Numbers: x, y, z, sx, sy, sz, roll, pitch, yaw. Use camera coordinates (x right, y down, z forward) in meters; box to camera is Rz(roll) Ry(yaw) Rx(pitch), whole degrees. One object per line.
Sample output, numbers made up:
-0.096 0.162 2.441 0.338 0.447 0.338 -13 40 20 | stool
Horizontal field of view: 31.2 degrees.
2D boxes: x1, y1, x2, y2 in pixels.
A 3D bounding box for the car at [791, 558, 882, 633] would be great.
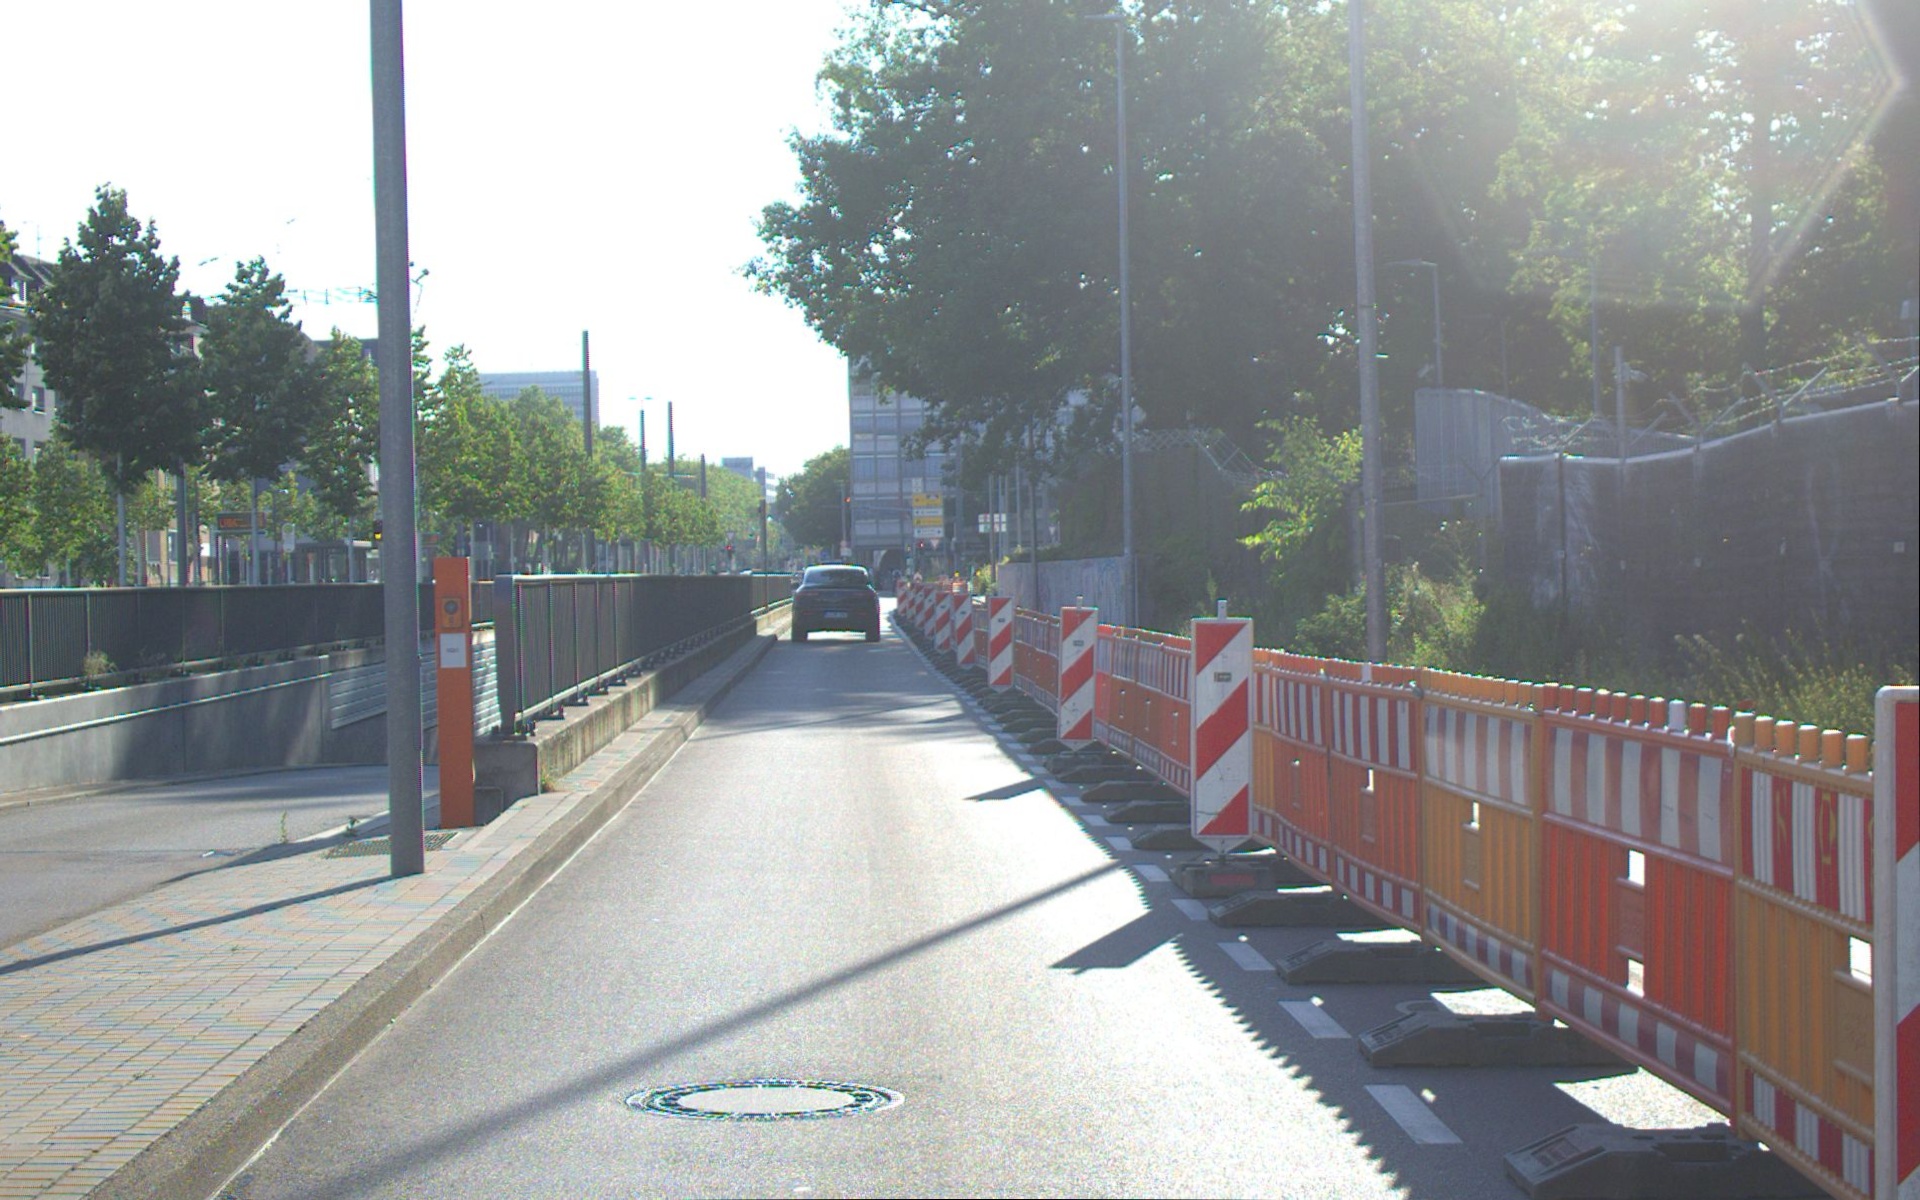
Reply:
-2.810 -0.104 79.035 2.005 1.653 4.000 1 0 -1 | car
